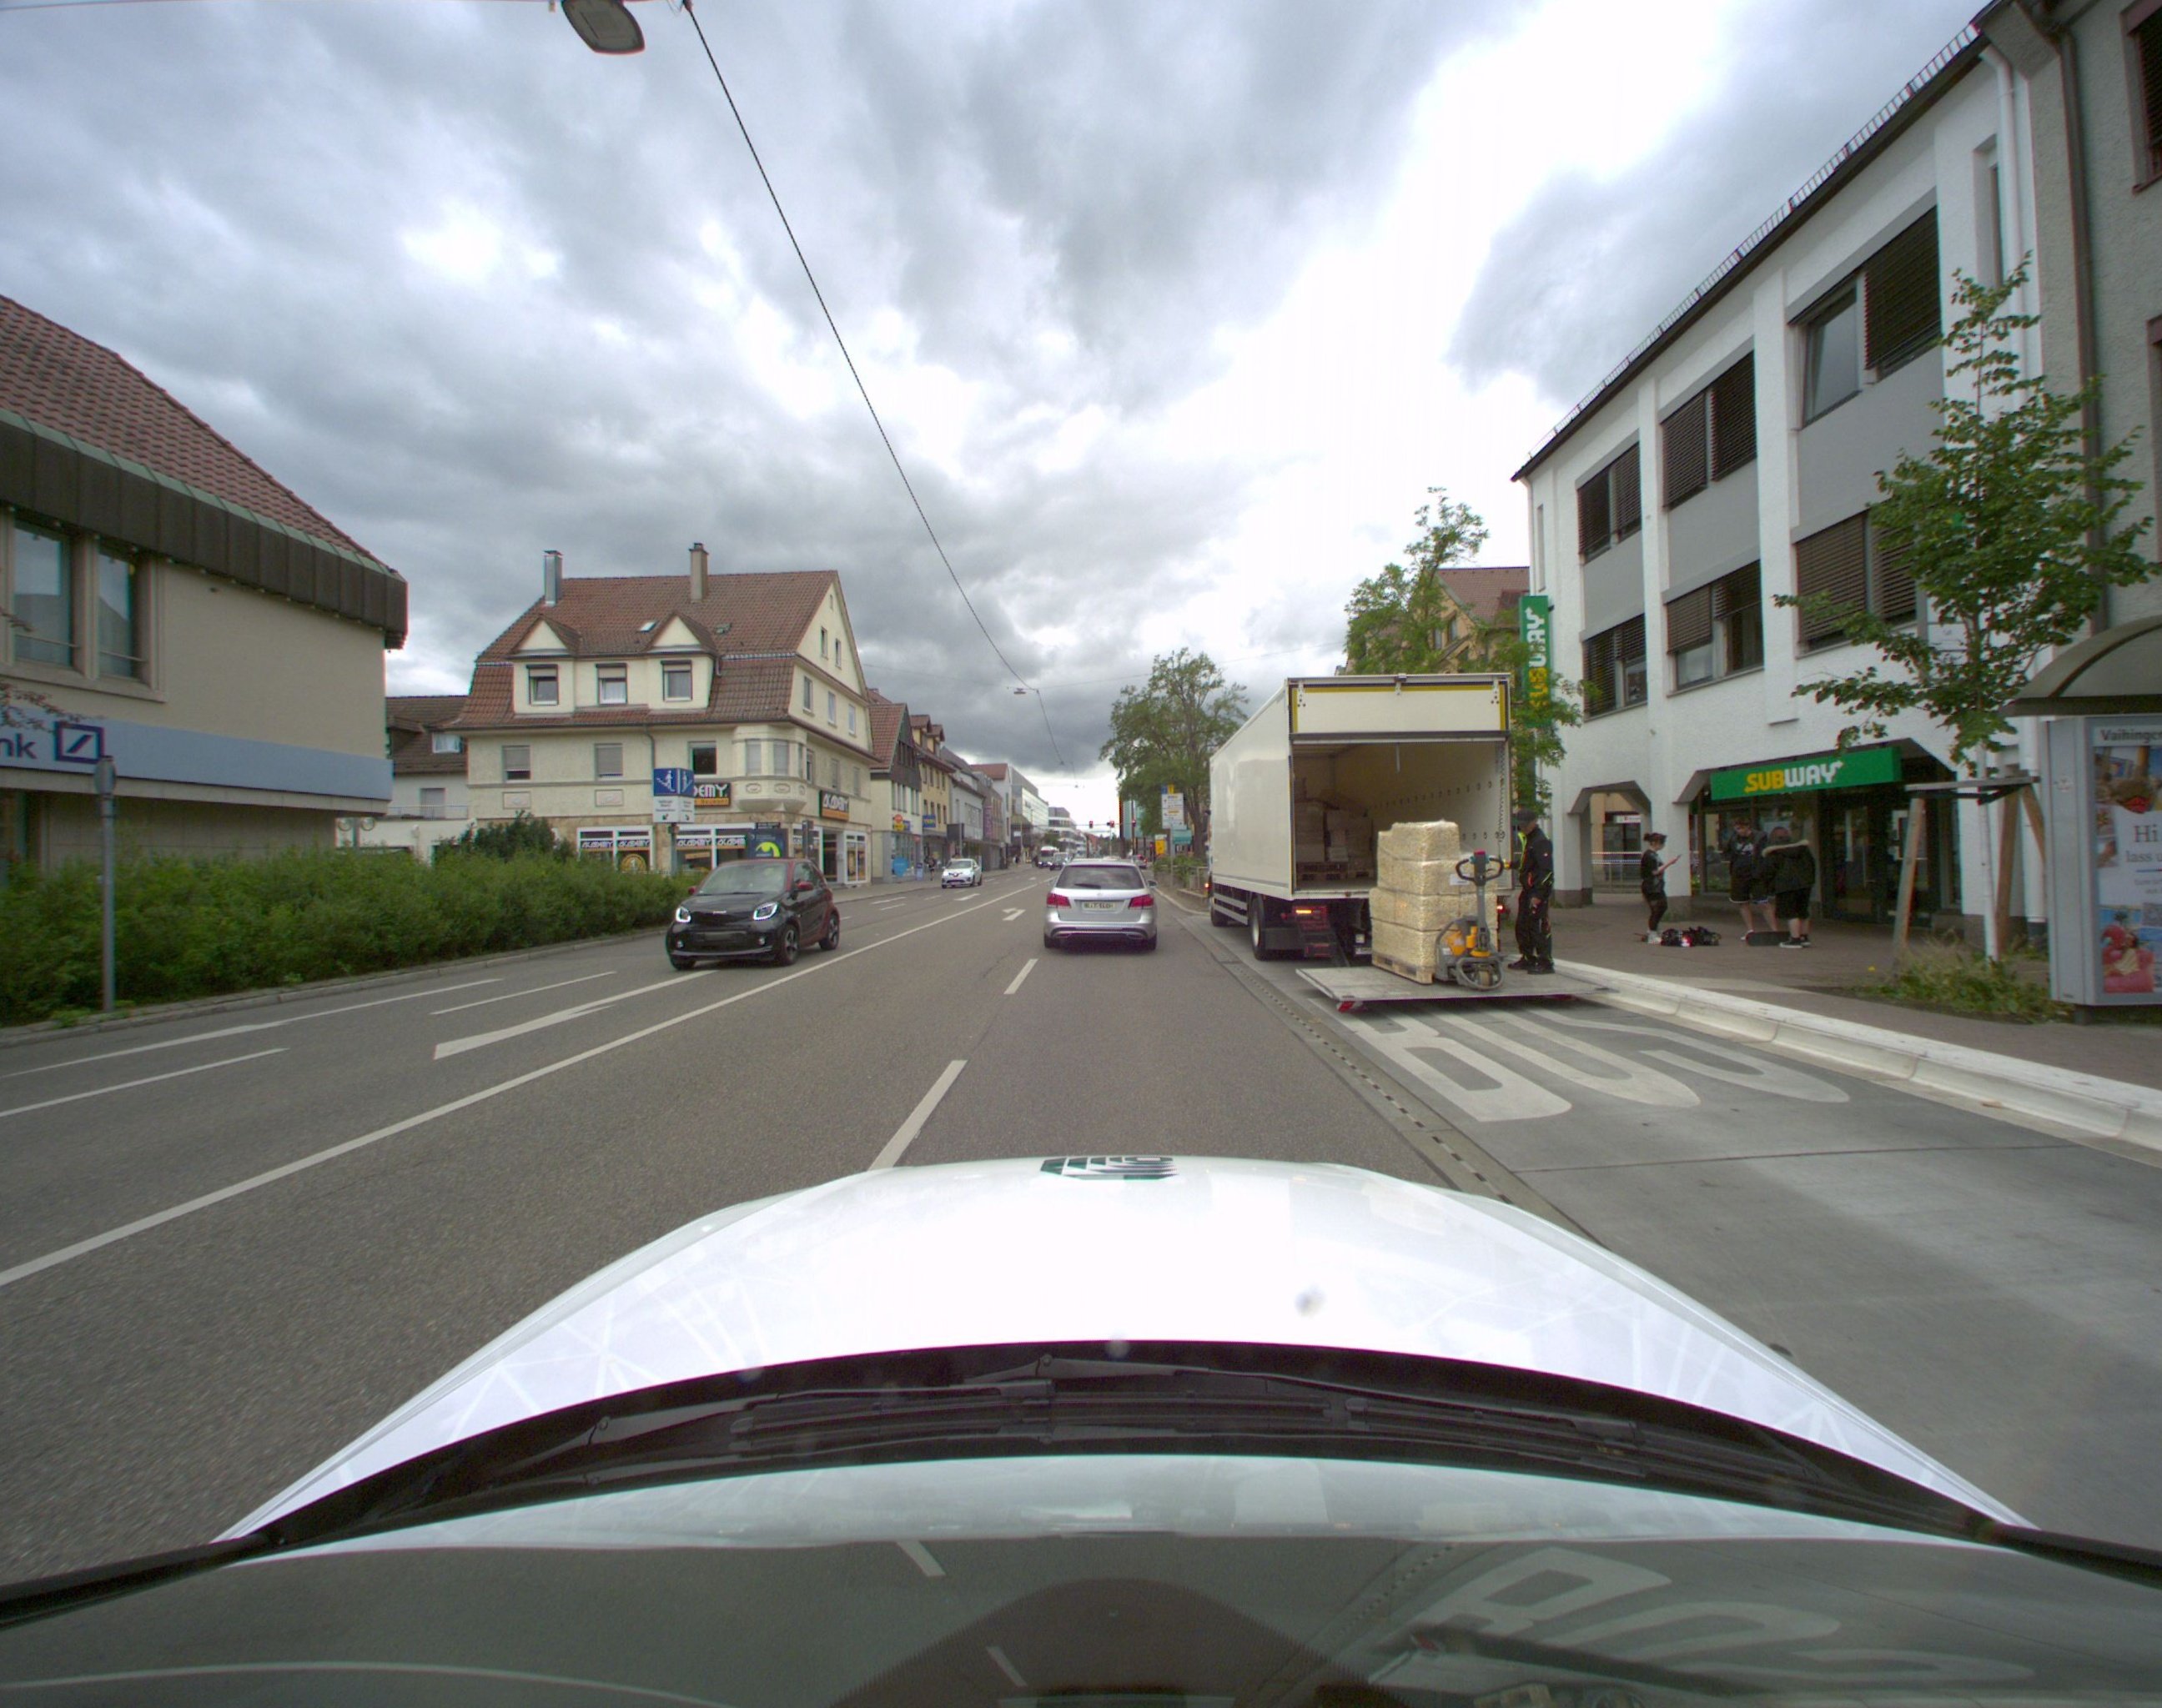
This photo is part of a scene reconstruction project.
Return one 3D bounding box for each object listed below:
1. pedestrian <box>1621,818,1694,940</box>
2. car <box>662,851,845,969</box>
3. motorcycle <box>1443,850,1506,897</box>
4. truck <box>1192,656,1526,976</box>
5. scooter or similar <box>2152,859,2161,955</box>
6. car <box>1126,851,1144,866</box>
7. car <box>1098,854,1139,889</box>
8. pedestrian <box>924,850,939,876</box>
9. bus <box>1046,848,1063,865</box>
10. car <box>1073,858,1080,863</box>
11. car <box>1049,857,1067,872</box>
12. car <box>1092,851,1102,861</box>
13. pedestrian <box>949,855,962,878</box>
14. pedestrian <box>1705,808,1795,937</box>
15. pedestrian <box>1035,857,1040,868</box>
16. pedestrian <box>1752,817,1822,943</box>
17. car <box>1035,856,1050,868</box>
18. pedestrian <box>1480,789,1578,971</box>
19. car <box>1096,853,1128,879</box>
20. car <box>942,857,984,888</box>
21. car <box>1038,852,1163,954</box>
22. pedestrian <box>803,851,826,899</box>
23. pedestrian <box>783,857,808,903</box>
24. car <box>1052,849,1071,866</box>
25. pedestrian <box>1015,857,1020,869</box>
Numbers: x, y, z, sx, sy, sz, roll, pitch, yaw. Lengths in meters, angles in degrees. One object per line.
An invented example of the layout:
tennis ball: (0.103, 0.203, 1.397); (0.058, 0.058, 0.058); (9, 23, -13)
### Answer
pedestrian: (8.505, 0.353, 12.027); (0.611, 1.740, 0.587); (2, 0, -2)
car: (-4.835, 0.763, 12.454); (1.565, 1.540, 2.960); (-2, 0, 0)
motorcycle: (11.310, 0.547, 23.493); (0.735, 1.270, 2.106); (-2, 0, -2)
truck: (3.795, -0.430, 14.081); (2.678, 3.561, 9.770); (-1, 0, 2)
scooter or similar: (11.486, 0.550, 7.994); (0.427, 1.000, 1.134); (-1, 0, -2)
car: (6.489, 0.516, 97.725); (1.986, 1.684, 4.002); (-1, 0, 2)
car: (1.740, 0.794, 38.081); (1.748, 1.521, 4.002); (-1, -1, 2)
pedestrian: (-10.352, 0.640, 56.259); (0.865, 1.746, 0.805); (2, 0, -3)
bus: (-4.954, 0.423, 155.400); (2.764, 3.165, 5.936); (-1, 0, 2)
car: (-1.062, 1.534, 193.483); (1.568, 1.244, 3.609); (-1, 0, 2)
car: (-2.437, 1.121, 88.292); (1.610, 1.428, 3.925); (-2, 0, 3)
car: (3.280, 0.355, 164.847); (1.986, 2.013, 4.002); (-1, 0, 2)
pedestrian: (-9.217, 0.923, 59.640); (0.815, 1.634, 0.979); (1, 0, -4)
pedestrian: (9.811, 0.271, 11.963); (0.615, 1.819, 0.761); (-1, -2, -22)
pedestrian: (-6.243, 1.220, 116.095); (0.611, 1.634, 0.588); (2, 0, 0)
pedestrian: (9.362, 0.340, 10.804); (0.618, 1.611, 0.581); (0, -2, -43)
car: (-5.079, 1.056, 107.547); (1.611, 1.523, 3.509); (-2, 0, 2)
pedestrian: (4.581, 0.260, 8.357); (0.611, 1.780, 0.587); (-2, -2, -2)
car: (2.086, 0.771, 54.230); (1.986, 1.684, 4.002); (-1, 0, 2)
car: (-6.379, 1.000, 44.513); (1.634, 1.568, 3.926); (-2, -1, 1)
car: (0.305, 0.750, 14.262); (1.868, 1.506, 3.999); (-1, 0, 0)
pedestrian: (-10.450, 0.814, 31.944); (0.631, 1.824, 0.681); (-2, 0, 1)
pedestrian: (-11.305, 1.024, 32.260); (0.685, 1.761, 0.681); (-2, 0, 1)
car: (-2.362, 0.436, 98.634); (1.954, 1.961, 5.142); (-3, 0, 2)
pedestrian: (-8.727, 1.267, 111.847); (0.584, 1.634, 0.615); (2, 0, 0)
